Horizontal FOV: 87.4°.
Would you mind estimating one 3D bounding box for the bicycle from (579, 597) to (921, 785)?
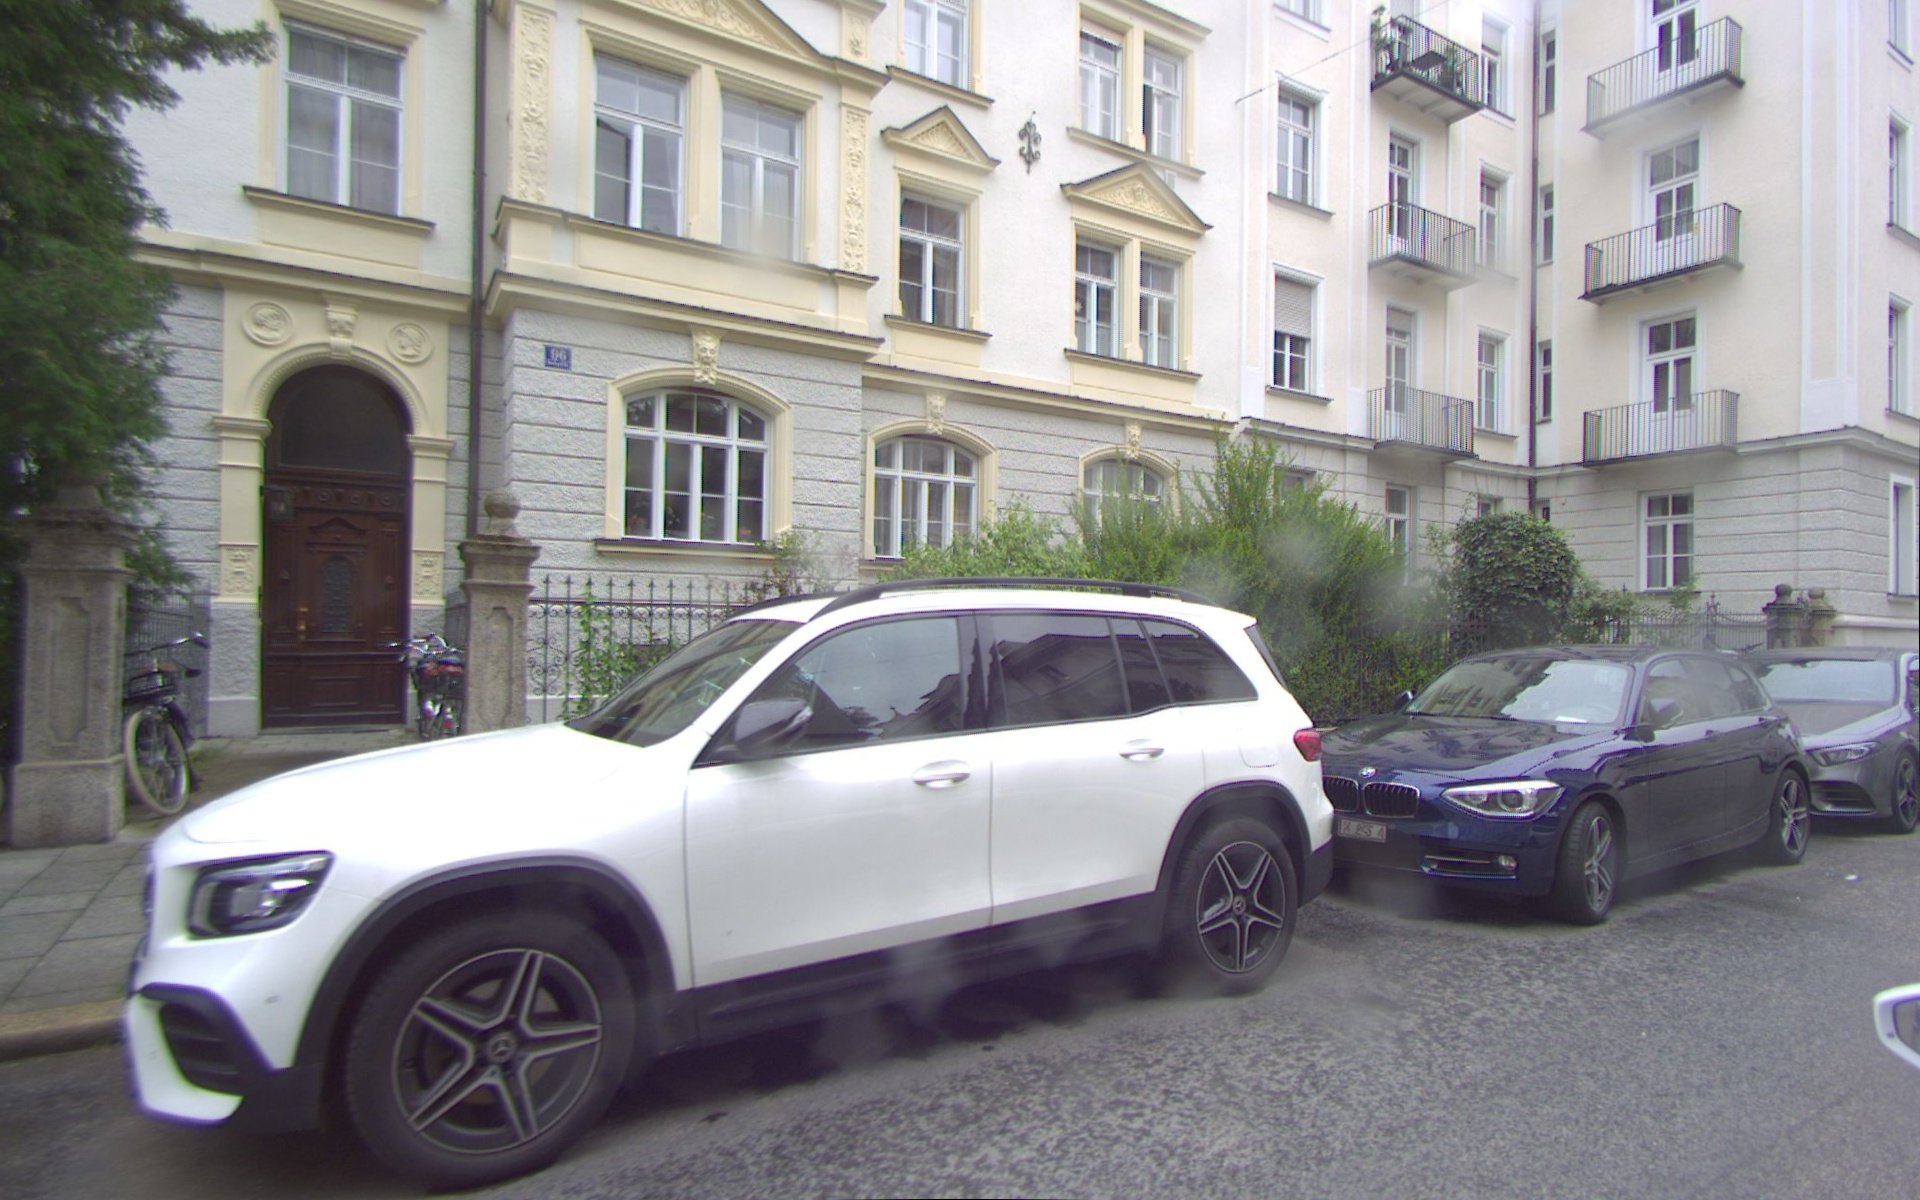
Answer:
[{"bbox_3d":[-1.567,0.668,7.776,2.500,1.276,0.693,2,-3,-30],"label":"bicycle"}]

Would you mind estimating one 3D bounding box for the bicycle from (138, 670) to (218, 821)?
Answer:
[{"bbox_3d":[-5.655,1.002,7.301,0.335,0.974,1.463,1,-4,-34],"label":"bicycle"}]

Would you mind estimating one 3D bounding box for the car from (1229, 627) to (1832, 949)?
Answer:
[{"bbox_3d":[3.763,0.945,6.432,3.958,1.439,1.758,2,-1,-33],"label":"car"}]

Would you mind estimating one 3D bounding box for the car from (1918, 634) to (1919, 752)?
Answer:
[{"bbox_3d":[13.999,1.212,12.677,4.033,1.453,1.788,3,-2,-31],"label":"car"}]

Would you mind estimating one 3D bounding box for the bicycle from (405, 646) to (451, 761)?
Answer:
[{"bbox_3d":[-5.633,1.067,10.661,0.388,1.118,1.134,1,-1,-27],"label":"bicycle"}]

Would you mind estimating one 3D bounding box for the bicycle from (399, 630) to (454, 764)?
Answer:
[{"bbox_3d":[-4.806,0.841,9.076,0.388,1.118,1.134,1,-1,-27],"label":"bicycle"}]

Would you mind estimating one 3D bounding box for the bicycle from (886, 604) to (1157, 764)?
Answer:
[{"bbox_3d":[0.609,0.742,9.236,2.500,1.314,0.752,2,-3,-30],"label":"bicycle"}]

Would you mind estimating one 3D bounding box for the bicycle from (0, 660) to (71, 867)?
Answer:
[{"bbox_3d":[-5.955,0.897,5.348,1.746,1.111,0.486,1,-1,-33],"label":"bicycle"}]

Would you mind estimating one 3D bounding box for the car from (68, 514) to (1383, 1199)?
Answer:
[{"bbox_3d":[-0.461,0.753,4.097,4.435,1.669,1.797,2,-3,-32],"label":"car"}]

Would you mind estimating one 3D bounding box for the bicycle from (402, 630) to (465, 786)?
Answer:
[{"bbox_3d":[-4.128,0.803,7.899,0.388,1.118,1.134,1,-1,-27],"label":"bicycle"}]

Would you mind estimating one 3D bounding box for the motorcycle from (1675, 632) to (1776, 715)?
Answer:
[{"bbox_3d":[12.532,1.197,16.425,1.801,1.266,0.700,3,-1,-32],"label":"motorcycle"}]

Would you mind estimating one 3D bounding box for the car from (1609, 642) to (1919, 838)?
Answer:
[{"bbox_3d":[7.766,1.100,9.024,4.149,1.382,1.725,2,-4,-34],"label":"car"}]
